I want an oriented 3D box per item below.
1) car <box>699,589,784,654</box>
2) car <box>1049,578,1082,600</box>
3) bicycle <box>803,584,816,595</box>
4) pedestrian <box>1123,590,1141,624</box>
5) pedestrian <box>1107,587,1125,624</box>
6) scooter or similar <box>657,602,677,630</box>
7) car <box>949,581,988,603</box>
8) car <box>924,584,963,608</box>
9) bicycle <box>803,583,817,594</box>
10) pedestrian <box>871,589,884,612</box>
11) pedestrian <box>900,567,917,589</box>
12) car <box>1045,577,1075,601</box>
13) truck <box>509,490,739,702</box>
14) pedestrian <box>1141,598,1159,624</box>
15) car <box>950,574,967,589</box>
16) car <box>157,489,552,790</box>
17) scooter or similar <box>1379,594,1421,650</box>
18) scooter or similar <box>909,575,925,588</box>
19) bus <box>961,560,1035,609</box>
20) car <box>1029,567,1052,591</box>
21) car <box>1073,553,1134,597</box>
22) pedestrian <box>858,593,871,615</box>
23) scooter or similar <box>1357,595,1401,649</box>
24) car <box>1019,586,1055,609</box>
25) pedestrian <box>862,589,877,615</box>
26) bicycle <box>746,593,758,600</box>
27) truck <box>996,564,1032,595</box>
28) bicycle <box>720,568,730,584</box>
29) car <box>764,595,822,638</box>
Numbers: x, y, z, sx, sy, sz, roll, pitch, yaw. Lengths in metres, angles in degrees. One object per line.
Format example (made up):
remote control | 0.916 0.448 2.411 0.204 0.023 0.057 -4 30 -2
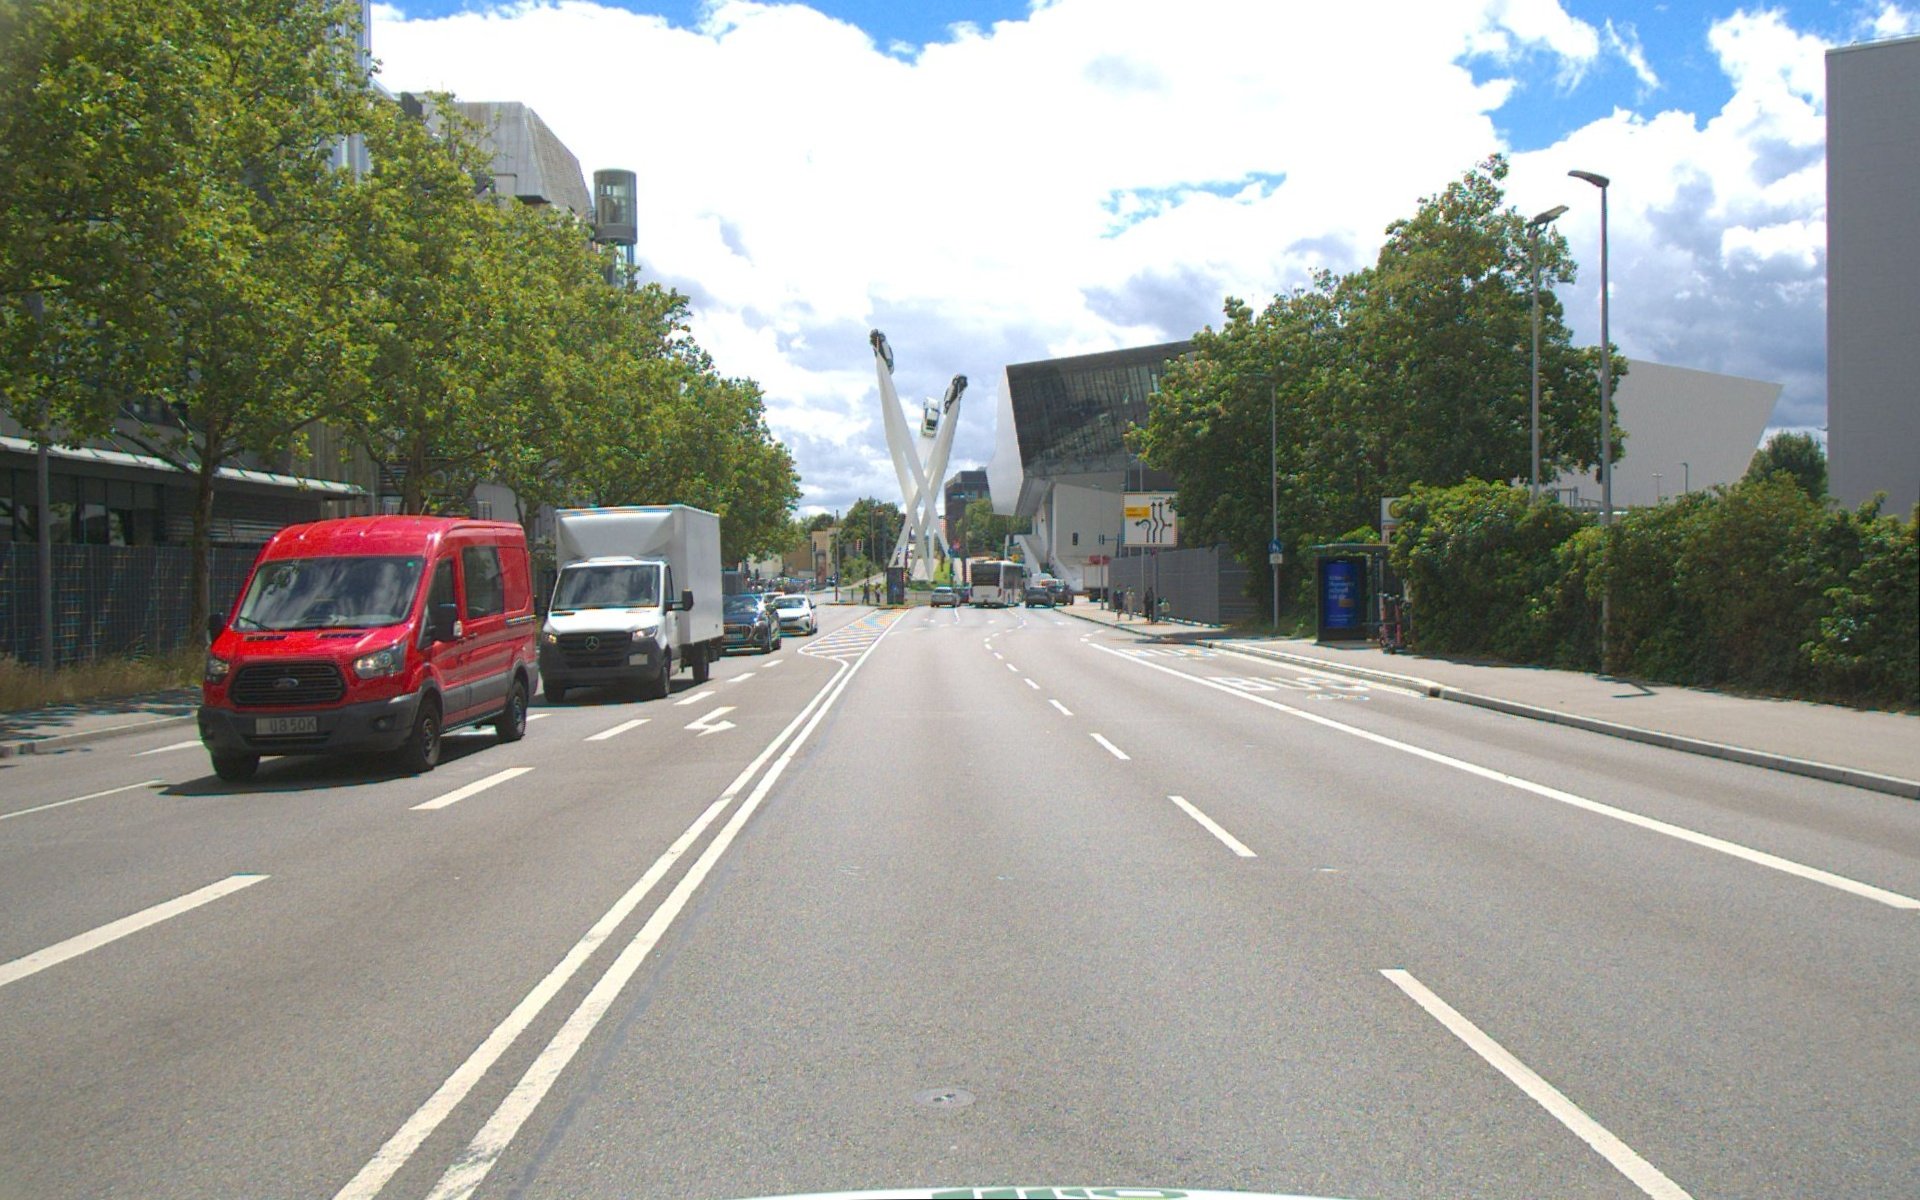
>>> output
car | -5.926 0.559 45.221 1.704 1.608 4.267 -3 0 0
car | 8.272 -0.876 129.555 1.951 1.665 4.003 1 0 12
bicycle | -18.609 -1.354 204.254 1.573 1.339 0.492 1 -1 -1
pedestrian | 8.365 0.326 80.461 0.778 1.625 0.731 1 -1 -1
pedestrian | 7.570 0.262 80.441 0.778 1.751 0.731 1 -1 -1
scooter or similar | -13.528 0.747 76.468 0.512 1.256 1.318 3 1 6
car | 0.674 -0.647 129.438 1.952 1.665 4.002 0 0 18
car | -1.193 -0.305 119.583 1.951 1.665 4.003 1 0 12
bicycle | -18.656 -1.414 205.705 1.573 1.407 0.492 1 -1 -1
pedestrian | -6.611 0.035 133.081 0.848 1.805 1.031 1 -1 -14
pedestrian | -4.841 -2.049 154.046 1.262 1.847 0.982 -5 4 -18
car | 8.628 -0.941 142.708 1.951 1.966 4.244 0 0 12
truck | -5.644 -0.074 29.030 2.402 3.183 7.243 -2 0 1
pedestrian | 8.656 0.497 75.239 0.742 1.169 0.972 1 -1 3
car | -0.162 -2.148 195.582 1.952 1.664 4.657 1 2 1
car | -5.956 0.335 17.171 2.021 2.551 5.479 -2 0 0
scooter or similar | 9.749 0.474 36.615 0.531 1.183 1.790 -1 0 26
scooter or similar | -4.025 -1.737 154.306 1.381 1.043 0.547 -5 6 -21
bus | 2.935 -1.076 123.132 3.006 3.421 12.232 0 0 13
car | 7.830 -1.992 159.900 1.951 2.209 4.658 1 0 6
car | 12.714 -2.155 145.533 3.265 3.565 9.345 0 0 18
pedestrian | -7.907 0.350 137.223 0.848 1.805 1.031 1 -1 -14
scooter or similar | 9.601 0.489 37.829 0.531 1.183 2.126 -1 0 26
car | 5.697 -0.214 121.965 1.951 1.665 4.004 1 1 12
pedestrian | -7.405 0.143 135.720 0.932 2.091 0.951 0 -1 18
bicycle | -24.883 -0.407 197.853 1.578 0.881 0.491 0 -1 34
truck | 4.788 -1.770 145.218 2.160 2.560 5.137 0 0 13
bicycle | -15.158 -1.544 106.776 0.290 1.023 1.253 0 -1 10
car | -6.047 0.591 60.316 1.657 1.439 4.145 -2 0 -1
